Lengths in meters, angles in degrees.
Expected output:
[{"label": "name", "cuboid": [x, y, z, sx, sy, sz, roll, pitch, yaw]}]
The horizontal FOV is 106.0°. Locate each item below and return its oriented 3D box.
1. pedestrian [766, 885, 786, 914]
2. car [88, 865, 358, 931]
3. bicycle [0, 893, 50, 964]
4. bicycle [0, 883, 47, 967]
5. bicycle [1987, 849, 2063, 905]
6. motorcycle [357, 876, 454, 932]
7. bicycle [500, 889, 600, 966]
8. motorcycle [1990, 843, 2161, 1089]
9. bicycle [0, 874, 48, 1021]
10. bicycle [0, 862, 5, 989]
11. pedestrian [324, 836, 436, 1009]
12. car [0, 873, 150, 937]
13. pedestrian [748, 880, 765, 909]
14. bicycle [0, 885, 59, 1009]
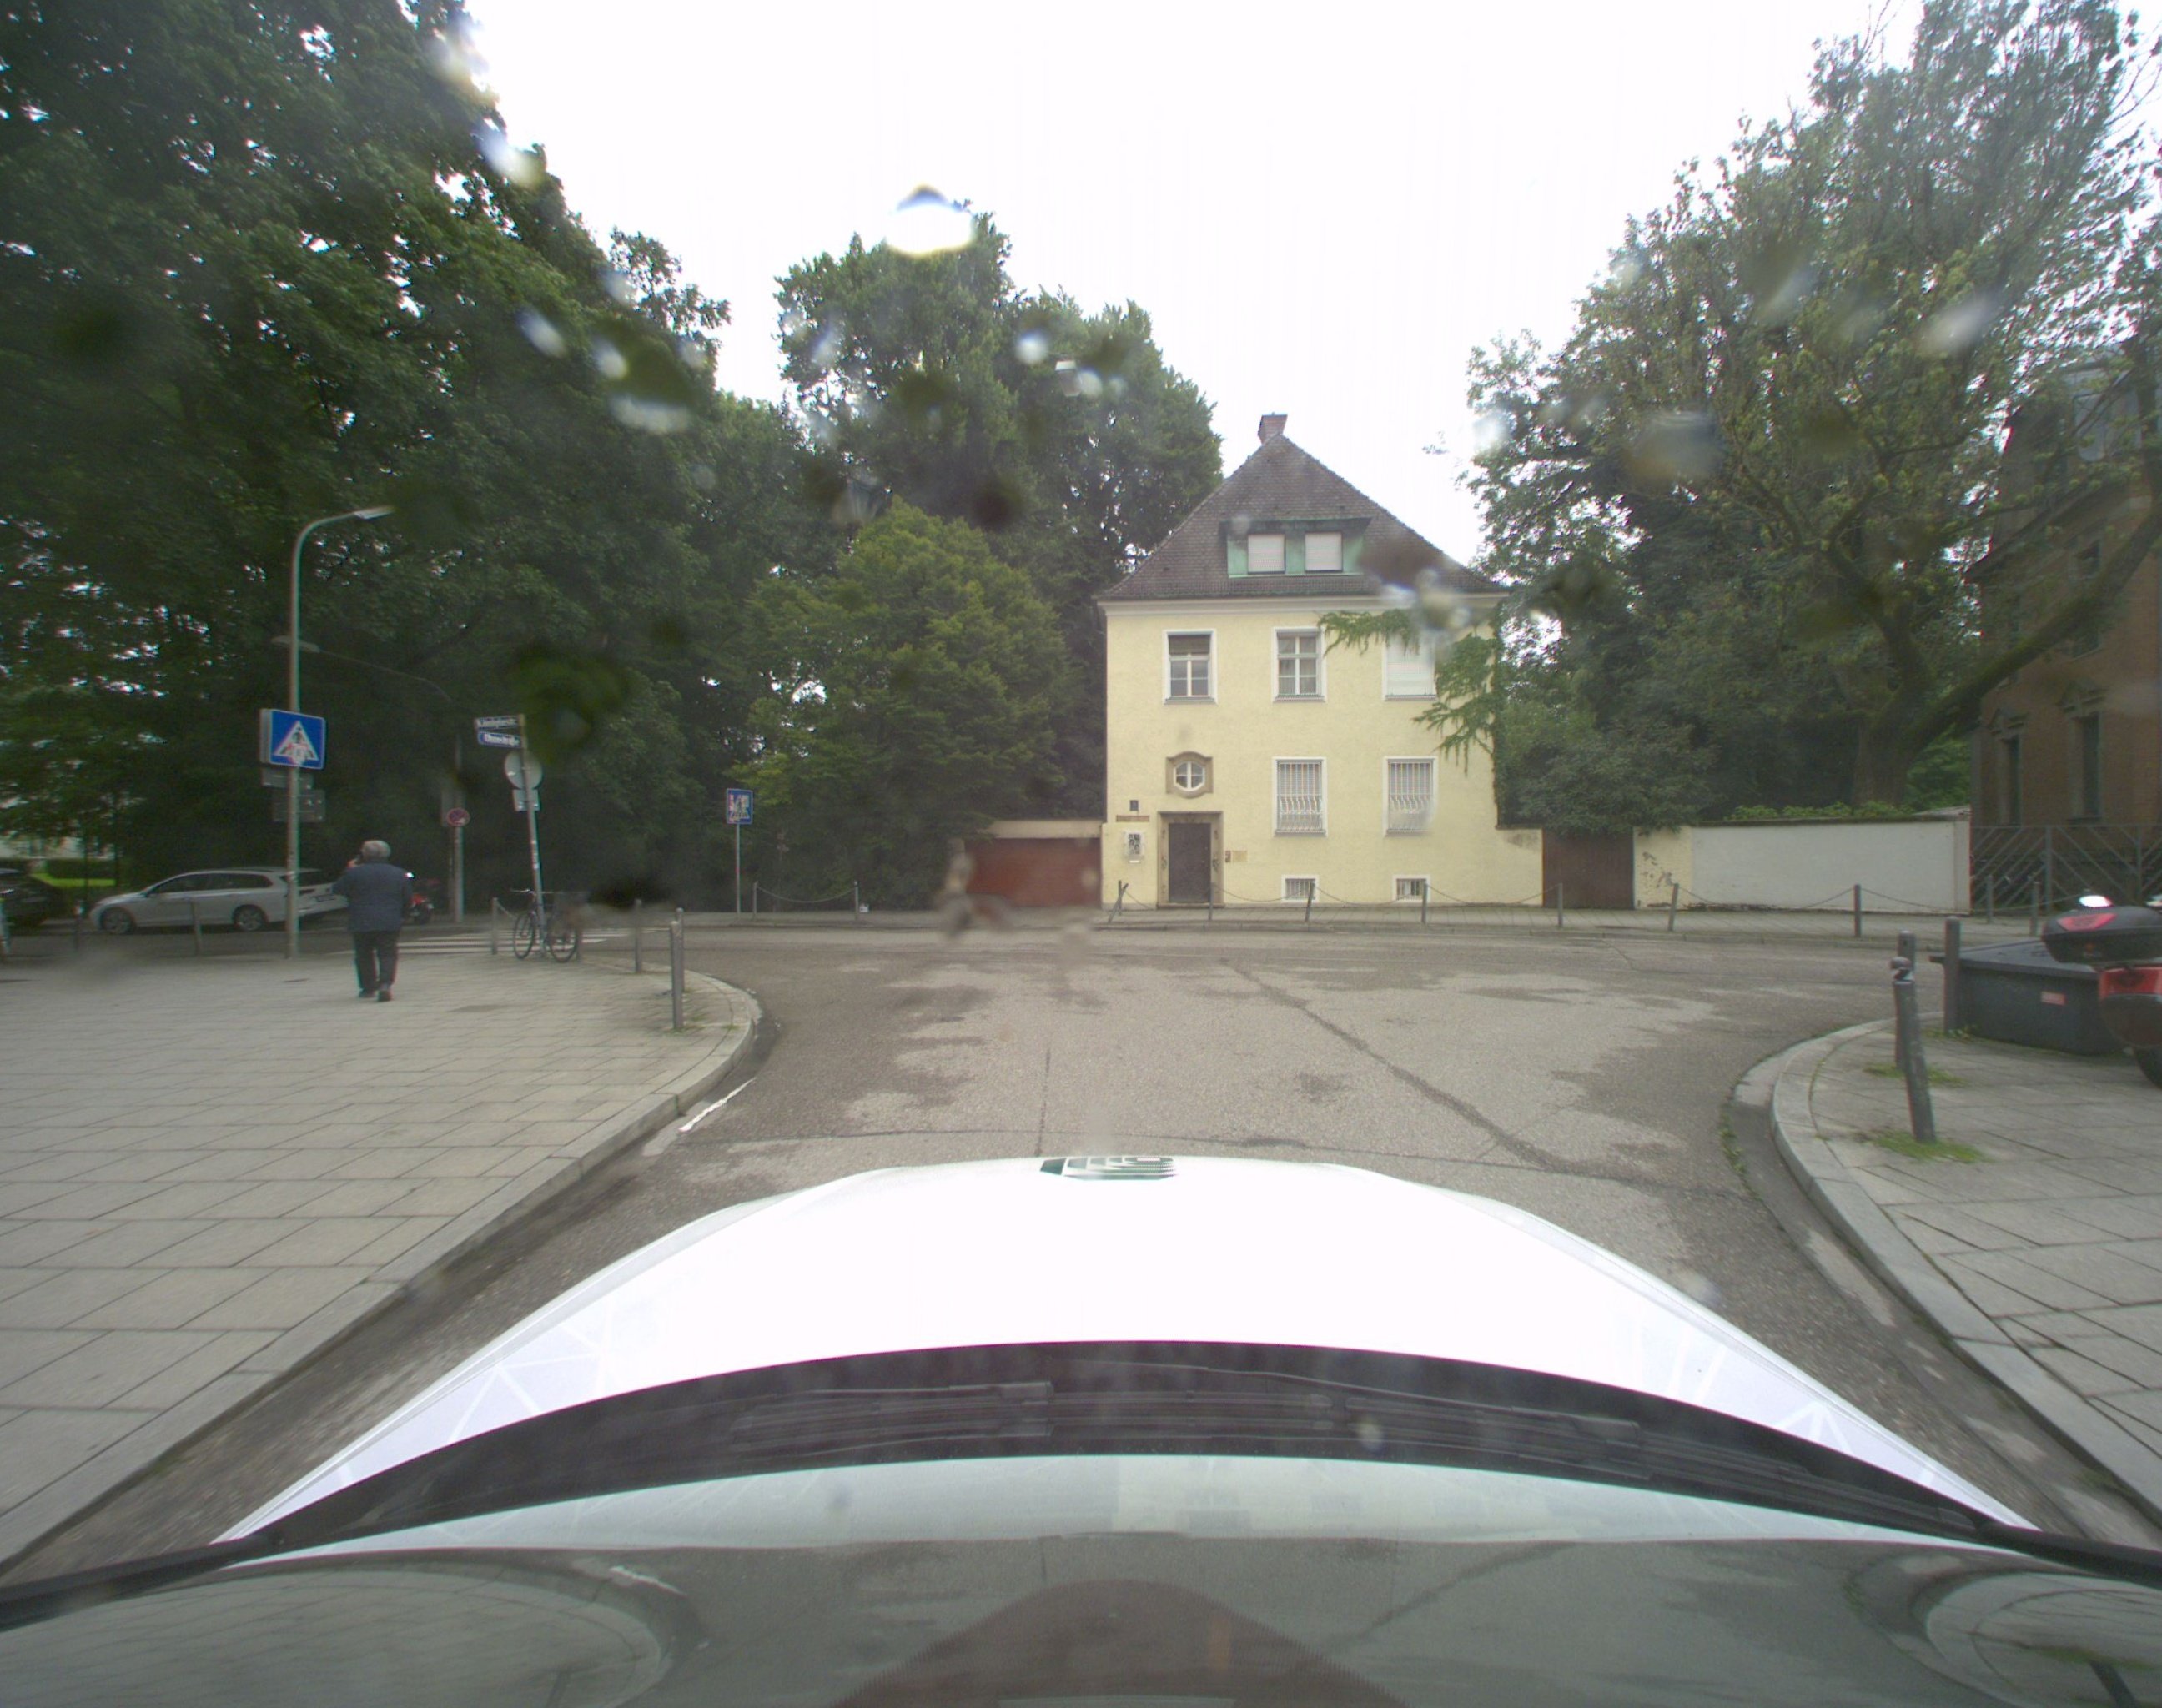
[{"label": "pedestrian", "cuboid": [-12.429, 1.849, 33.206, 0.583, 1.169, 0.497, 0, -1, 4]}, {"label": "car", "cuboid": [-20.396, 1.015, 19.531, 4.416, 1.449, 1.621, 0, 0, -7]}, {"label": "bicycle", "cuboid": [-18.031, 1.230, 13.100, 0.506, 1.147, 1.715, 0, -1, 14]}, {"label": "bicycle", "cuboid": [-15.712, 1.014, 11.975, 1.662, 1.147, 0.515, 0, -1, 35]}, {"label": "bicycle", "cuboid": [21.614, 0.507, 18.684, 0.529, 1.219, 2.096, 0, -1, 32]}, {"label": "motorcycle", "cuboid": [-15.941, 1.147, 19.223, 1.982, 1.183, 0.864, 0, 3, 22]}, {"label": "bicycle", "cuboid": [-7.866, 1.048, 12.028, 1.982, 1.010, 0.515, 0, -1, 35]}, {"label": "motorcycle", "cuboid": [6.798, 0.625, 5.161, 2.088, 1.356, 0.810, 0, -1, -25]}, {"label": "bicycle", "cuboid": [-9.461, 0.804, 6.594, 0.741, 1.256, 1.907, 1, -1, -32]}, {"label": "bicycle", "cuboid": [-13.053, 0.791, 8.905, 1.908, 1.413, 0.740, 0, -1, 10]}, {"label": "pedestrian", "cuboid": [-7.125, 0.655, 8.294, 0.817, 1.642, 0.717, 1, -1, -42]}, {"label": "car", "cuboid": [-25.563, 1.191, 19.349, 4.495, 1.432, 1.774, 0, 0, -6]}, {"label": "pedestrian", "cuboid": [-13.163, 1.639, 33.043, 0.469, 1.156, 0.497, 0, -1, 4]}, {"label": "bicycle", "cuboid": [-11.100, 0.893, 8.152, 1.902, 1.157, 0.568, 0, -4, 25]}]
